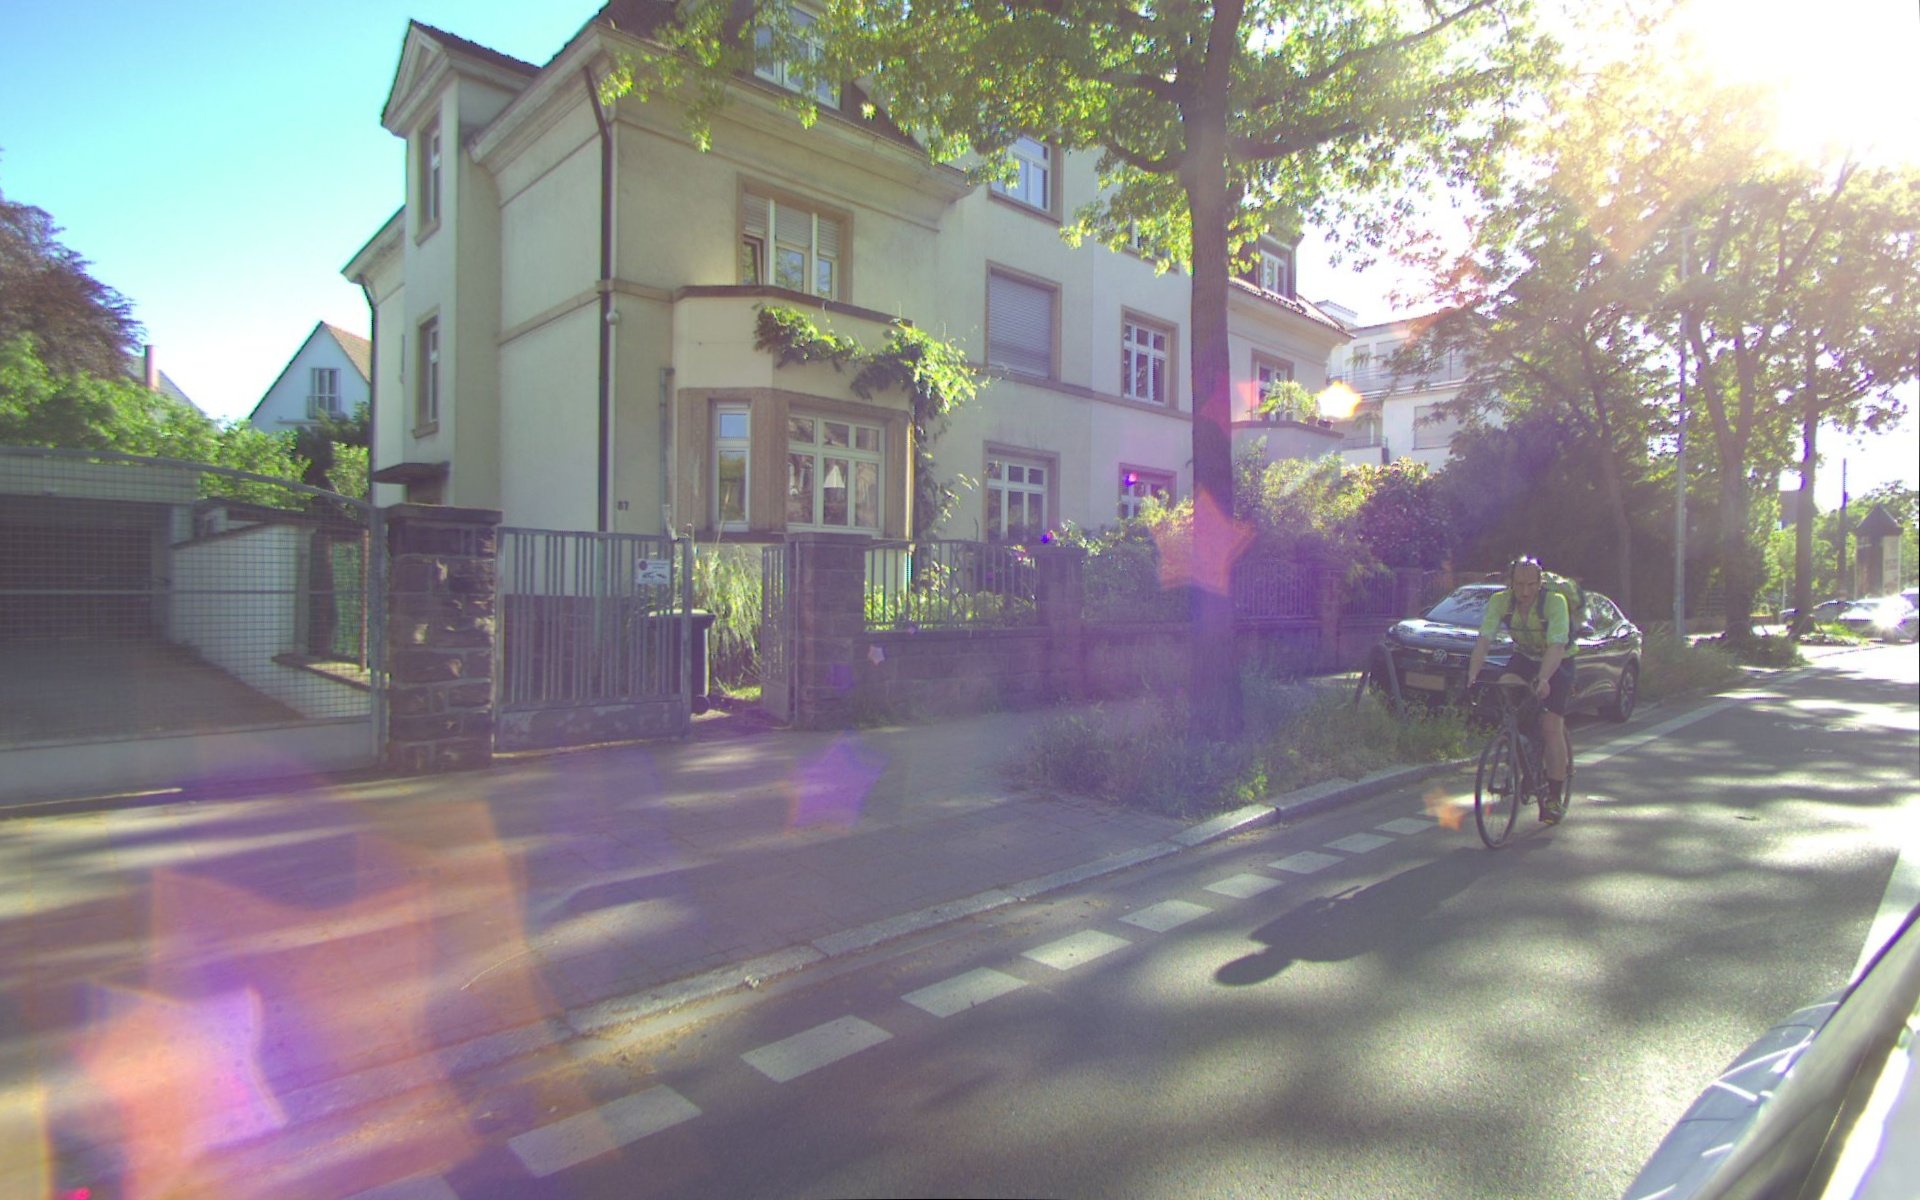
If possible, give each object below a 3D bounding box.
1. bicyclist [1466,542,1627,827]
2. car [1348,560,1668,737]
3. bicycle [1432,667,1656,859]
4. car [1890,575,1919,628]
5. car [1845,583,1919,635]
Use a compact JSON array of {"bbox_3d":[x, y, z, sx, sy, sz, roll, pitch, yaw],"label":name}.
[{"bbox_3d":[3.739,0.494,6.457,0.732,1.679,0.677,0,0,-41],"label":"bicyclist"},{"bbox_3d":[6.705,0.484,12.195,4.304,1.695,1.997,1,2,-42],"label":"car"},{"bbox_3d":[3.786,0.965,6.498,1.852,0.937,0.677,0,1,-41],"label":"bicycle"},{"bbox_3d":[36.850,0.038,38.127,4.663,1.919,2.128,0,1,-41],"label":"car"},{"bbox_3d":[31.516,0.263,34.095,3.927,1.660,1.824,0,1,-38],"label":"car"}]
